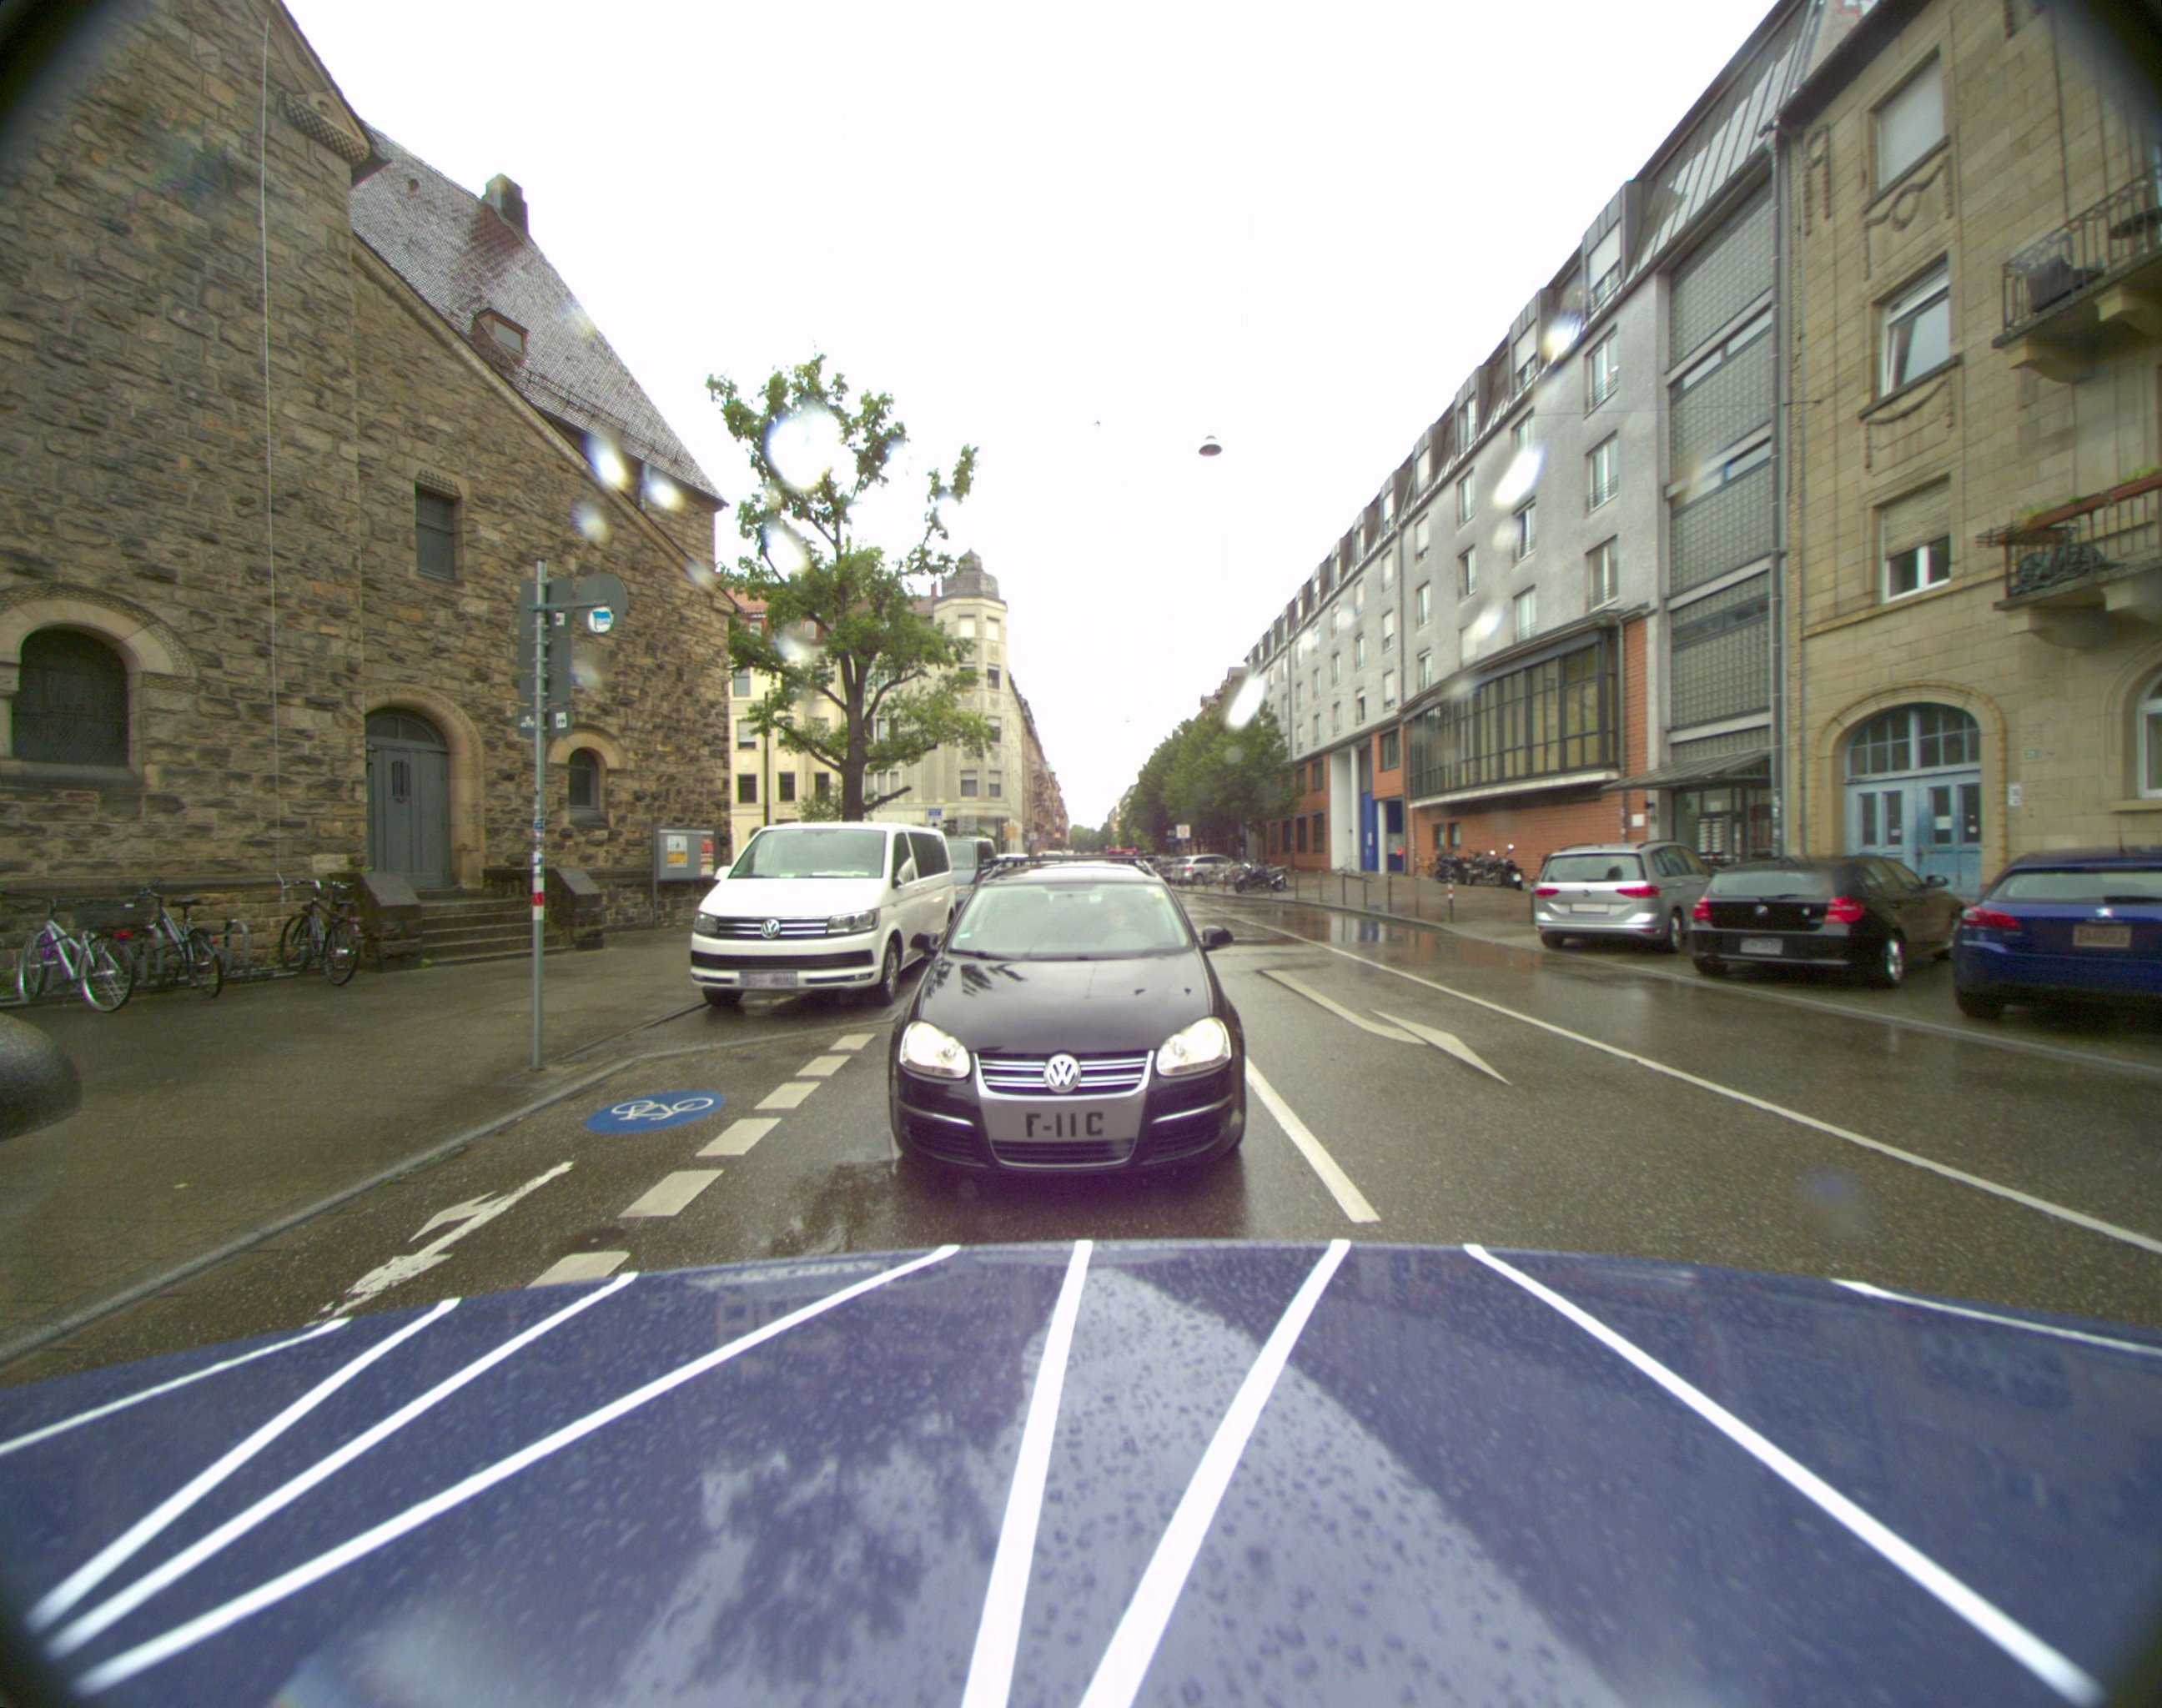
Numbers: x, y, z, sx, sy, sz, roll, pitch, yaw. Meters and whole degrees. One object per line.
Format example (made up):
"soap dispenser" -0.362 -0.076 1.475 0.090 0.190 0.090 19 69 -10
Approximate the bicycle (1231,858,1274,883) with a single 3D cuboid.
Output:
"bicycle" 7.218 0.692 32.043 1.688 1.067 0.544 0 1 -2

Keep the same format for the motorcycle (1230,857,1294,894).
"motorcycle" 6.985 0.811 29.355 2.255 1.302 0.758 -2 1 1

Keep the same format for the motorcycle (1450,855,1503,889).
"motorcycle" 13.537 0.603 26.090 0.599 1.095 2.362 0 0 1

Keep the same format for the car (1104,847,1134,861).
"car" 4.875 -0.005 97.853 3.799 1.705 2.000 0 0 1

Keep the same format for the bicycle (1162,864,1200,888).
"bicycle" 4.745 1.027 36.010 1.688 1.067 0.544 2 1 -2

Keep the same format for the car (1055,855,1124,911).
"car" 0.245 0.750 21.359 1.766 1.430 3.748 0 0 1

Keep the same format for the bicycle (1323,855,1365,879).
"bicycle" 13.462 0.643 38.912 1.901 1.217 0.938 0 1 26

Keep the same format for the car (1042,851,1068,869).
"car" -2.053 0.457 61.469 1.921 1.470 4.221 0 0 1

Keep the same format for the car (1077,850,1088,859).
"car" 0.337 0.088 160.656 1.998 1.705 4.376 0 0 5

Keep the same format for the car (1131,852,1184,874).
"car" 6.000 0.721 60.143 3.803 1.705 1.998 0 0 -10

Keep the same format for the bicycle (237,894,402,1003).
"bicycle" -8.590 1.017 8.561 1.978 1.060 0.607 0 1 23

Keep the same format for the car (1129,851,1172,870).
"car" 6.577 0.604 72.085 3.803 1.705 1.904 0 0 -10

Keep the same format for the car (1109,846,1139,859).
"car" 6.164 -0.224 108.279 3.809 1.705 1.995 0 1 -33

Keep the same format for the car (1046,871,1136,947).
"car" 0.201 0.981 14.838 1.547 1.214 3.608 0 0 1

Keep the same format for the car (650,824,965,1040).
"car" -2.827 0.683 9.375 1.909 1.911 5.272 0 0 1

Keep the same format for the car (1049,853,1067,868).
"car" -1.975 0.541 65.796 1.356 1.285 3.013 0 0 1

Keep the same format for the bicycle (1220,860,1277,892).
"bicycle" 6.680 0.868 30.326 2.049 1.165 0.773 -3 1 -2

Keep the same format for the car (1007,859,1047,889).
"car" -2.465 0.906 35.204 1.558 1.285 3.662 0 0 1

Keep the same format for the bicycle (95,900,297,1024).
"bicycle" -8.982 1.034 7.702 2.150 1.054 0.679 0 1 22

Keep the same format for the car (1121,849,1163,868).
"car" 6.486 0.486 80.520 4.006 2.002 1.995 0 1 -28

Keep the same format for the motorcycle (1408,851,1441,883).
"motorcycle" 13.567 0.490 30.069 0.546 1.221 1.676 0 0 1

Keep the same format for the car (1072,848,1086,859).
"car" -0.322 -0.109 125.137 1.998 1.705 3.803 0 0 5

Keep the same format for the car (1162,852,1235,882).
"car" 6.791 0.738 44.169 3.803 1.705 1.998 0 0 -10

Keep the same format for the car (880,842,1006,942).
"car" -2.750 0.696 16.102 1.837 1.835 4.295 0 0 1

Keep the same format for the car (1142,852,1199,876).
"car" 6.585 0.741 56.252 3.803 1.705 1.998 0 0 -10

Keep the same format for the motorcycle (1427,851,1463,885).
"motorcycle" 13.536 0.511 28.303 0.546 1.221 1.676 0 0 1

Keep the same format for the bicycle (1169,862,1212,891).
"bicycle" 4.722 0.960 32.809 1.688 1.067 0.544 -6 1 -2

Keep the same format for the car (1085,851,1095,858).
"car" 2.097 0.088 175.402 1.998 1.705 4.376 0 0 5

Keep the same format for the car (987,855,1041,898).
"car" -2.502 0.809 29.127 1.674 1.540 3.918 0 0 1

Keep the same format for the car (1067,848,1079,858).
"car" -1.446 -0.223 139.214 1.998 1.705 3.803 0 0 5

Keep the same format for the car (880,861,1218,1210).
"car" -0.120 0.855 5.521 1.547 1.553 4.070 0 0 1

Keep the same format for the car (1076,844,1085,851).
"car" -0.192 -1.587 183.682 1.837 1.827 4.001 0 0 5

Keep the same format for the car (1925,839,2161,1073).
"car" 9.329 0.720 6.631 3.732 1.519 1.897 -4 2 -30

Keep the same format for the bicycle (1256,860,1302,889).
"bicycle" 8.137 0.847 31.270 1.688 1.067 0.544 -3 1 -2

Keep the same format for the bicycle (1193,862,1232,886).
"bicycle" 6.069 0.937 35.054 1.688 1.067 0.544 -1 1 -2

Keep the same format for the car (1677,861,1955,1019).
"car" 9.027 0.869 9.268 3.734 1.518 1.713 0 1 -34

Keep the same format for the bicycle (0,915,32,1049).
"bicycle" -9.686 1.053 6.378 1.923 1.054 0.582 0 1 22

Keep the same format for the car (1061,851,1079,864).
"car" -1.251 0.393 90.471 1.998 1.576 4.000 0 0 1

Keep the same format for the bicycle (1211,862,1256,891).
"bicycle" 6.282 0.918 31.289 1.688 1.067 0.544 -3 1 -2

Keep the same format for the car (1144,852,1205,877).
"car" 6.461 0.731 52.834 3.803 1.705 1.998 0 0 -10

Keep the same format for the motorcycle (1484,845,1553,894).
"motorcycle" 13.447 0.454 23.461 0.777 1.454 2.362 0 0 1

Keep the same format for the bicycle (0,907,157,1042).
"bicycle" -9.454 1.058 7.038 1.923 1.054 0.582 0 1 22

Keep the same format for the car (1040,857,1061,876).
"car" -2.155 0.894 54.304 1.356 1.285 3.013 0 0 1

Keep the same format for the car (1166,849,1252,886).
"car" 6.632 0.654 39.452 4.005 1.804 1.996 0 1 -26

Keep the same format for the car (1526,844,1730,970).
"car" 8.963 0.715 12.349 3.931 1.719 1.811 0 1 -41

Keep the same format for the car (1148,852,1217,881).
"car" 6.291 0.757 47.247 3.803 1.705 1.998 0 0 -10
